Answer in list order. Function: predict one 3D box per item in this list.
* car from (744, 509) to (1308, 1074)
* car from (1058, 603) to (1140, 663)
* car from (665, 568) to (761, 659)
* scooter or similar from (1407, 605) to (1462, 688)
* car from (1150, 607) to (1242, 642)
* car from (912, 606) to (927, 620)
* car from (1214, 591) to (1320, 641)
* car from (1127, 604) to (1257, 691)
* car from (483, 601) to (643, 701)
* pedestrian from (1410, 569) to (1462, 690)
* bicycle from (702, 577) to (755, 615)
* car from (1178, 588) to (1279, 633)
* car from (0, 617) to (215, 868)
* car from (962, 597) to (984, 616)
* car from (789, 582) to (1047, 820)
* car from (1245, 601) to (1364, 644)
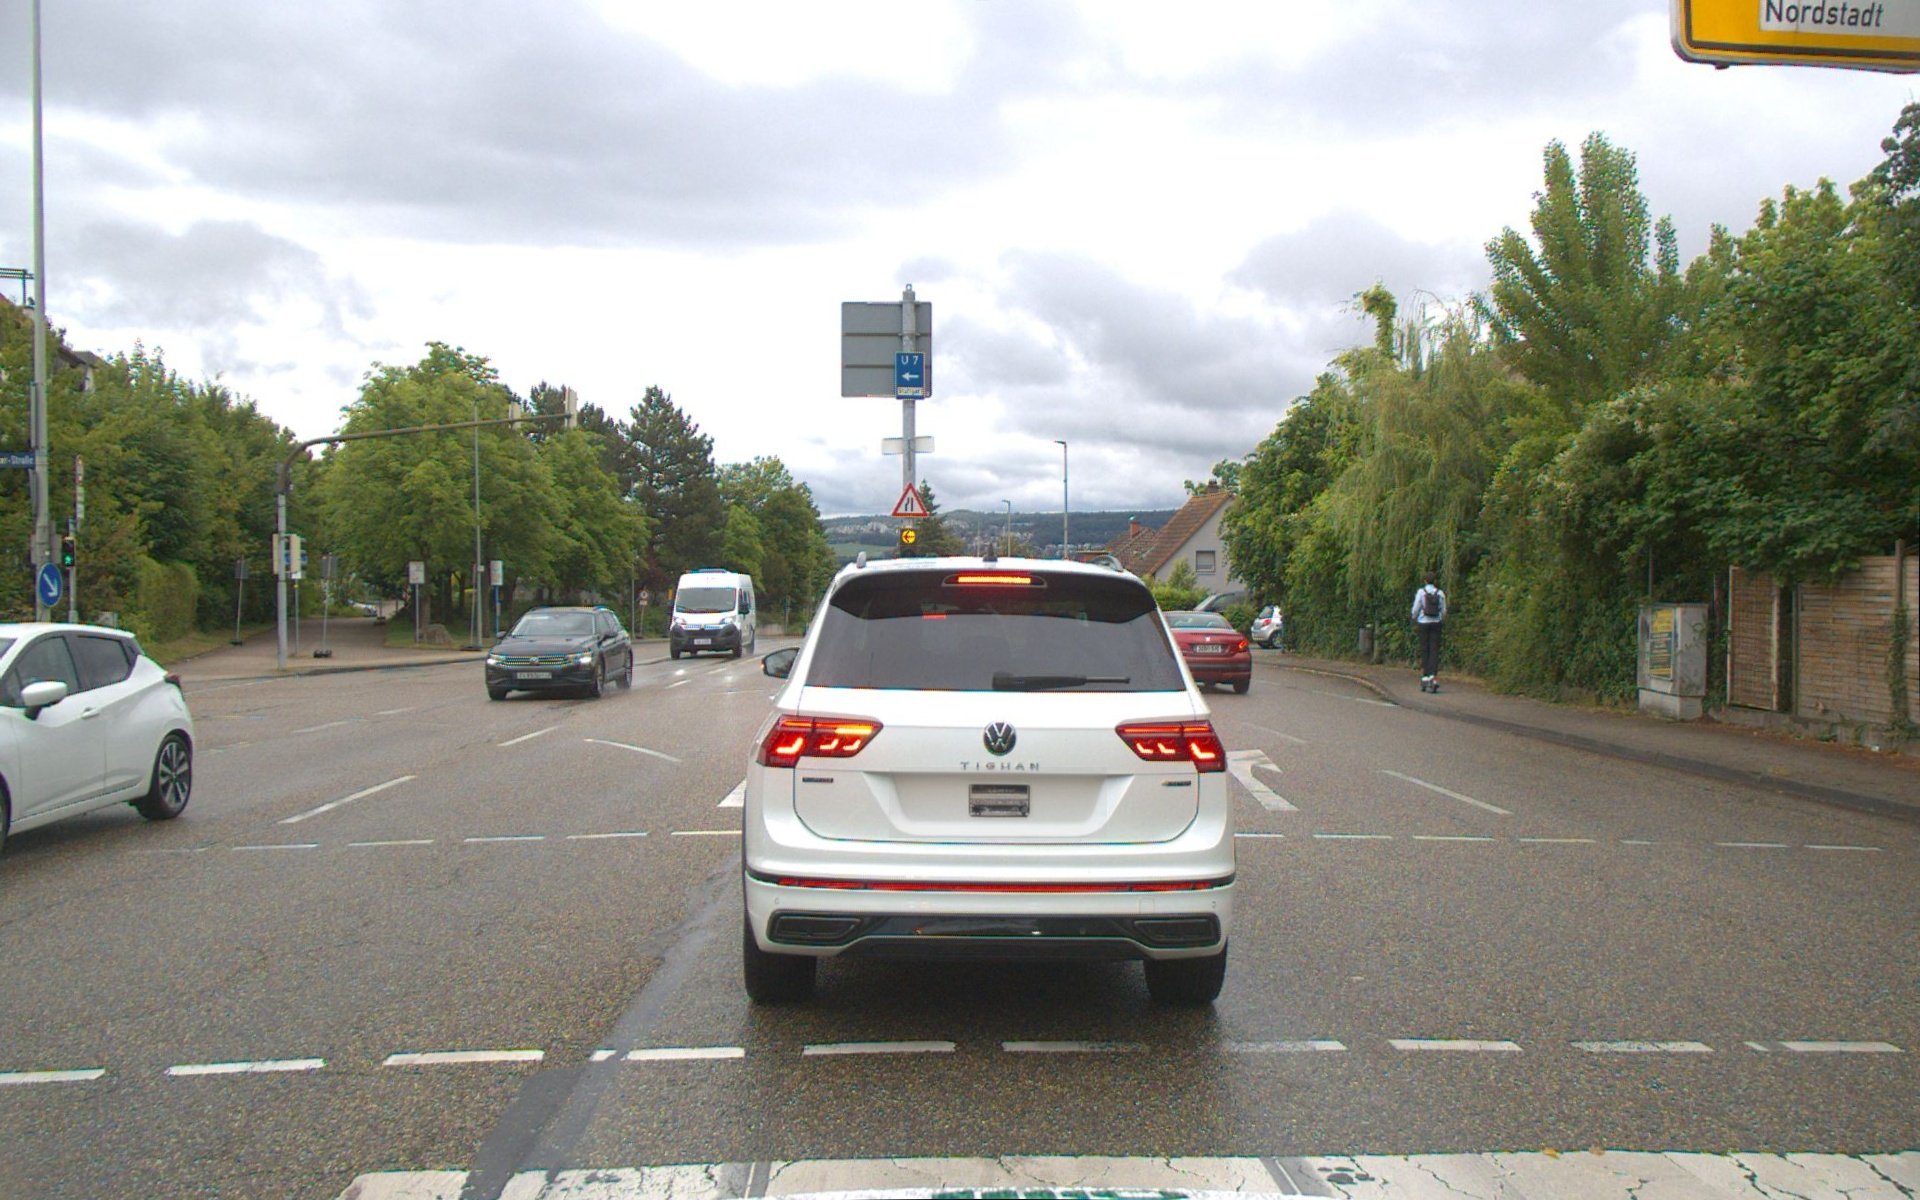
[{"bbox_3d":[0.154,0.603,7.348,1.727,1.725,4.271,2,0,-2],"label":"car"},{"bbox_3d":[3.713,0.852,44.733,1.631,1.452,4.303,2,0,-3],"label":"car"},{"bbox_3d":[-7.384,0.364,50.043,2.251,2.572,5.771,0,0,-2],"label":"car"},{"bbox_3d":[8.097,0.775,28.265,0.452,1.385,1.383,0,0,-4],"label":"scooter or similar"},{"bbox_3d":[9.873,1.041,69.460,3.613,1.394,1.518,1,-2,-3],"label":"car"},{"bbox_3d":[-4.912,1.528,200.652,1.813,1.602,3.999,-1,0,-1],"label":"car"},{"bbox_3d":[11.466,0.581,61.888,3.556,1.777,1.706,0,1,-5],"label":"car"},{"bbox_3d":[4.139,0.810,29.984,1.593,1.427,3.687,1,0,-4],"label":"car"},{"bbox_3d":[-6.649,0.800,28.170,1.740,1.528,4.470,-1,0,-2],"label":"car"},{"bbox_3d":[8.118,0.492,28.227,0.643,2.037,0.717,0,0,-6],"label":"pedestrian"},{"bbox_3d":[-7.443,-0.129,53.162,1.603,1.145,0.468,-2,1,-3],"label":"bicycle"},{"bbox_3d":[10.451,0.381,64.432,3.556,1.654,1.790,0,2,-5],"label":"car"},{"bbox_3d":[-6.482,0.888,10.580,1.711,1.421,3.801,-3,0,-1],"label":"car"},{"bbox_3d":[1.108,0.535,145.310,1.813,1.602,3.999,-1,0,-1],"label":"car"},{"bbox_3d":[-0.301,0.695,13.351,1.762,1.617,3.926,1,0,0],"label":"car"},{"bbox_3d":[11.777,0.782,56.667,3.644,1.420,1.725,0,-1,-8],"label":"car"}]
